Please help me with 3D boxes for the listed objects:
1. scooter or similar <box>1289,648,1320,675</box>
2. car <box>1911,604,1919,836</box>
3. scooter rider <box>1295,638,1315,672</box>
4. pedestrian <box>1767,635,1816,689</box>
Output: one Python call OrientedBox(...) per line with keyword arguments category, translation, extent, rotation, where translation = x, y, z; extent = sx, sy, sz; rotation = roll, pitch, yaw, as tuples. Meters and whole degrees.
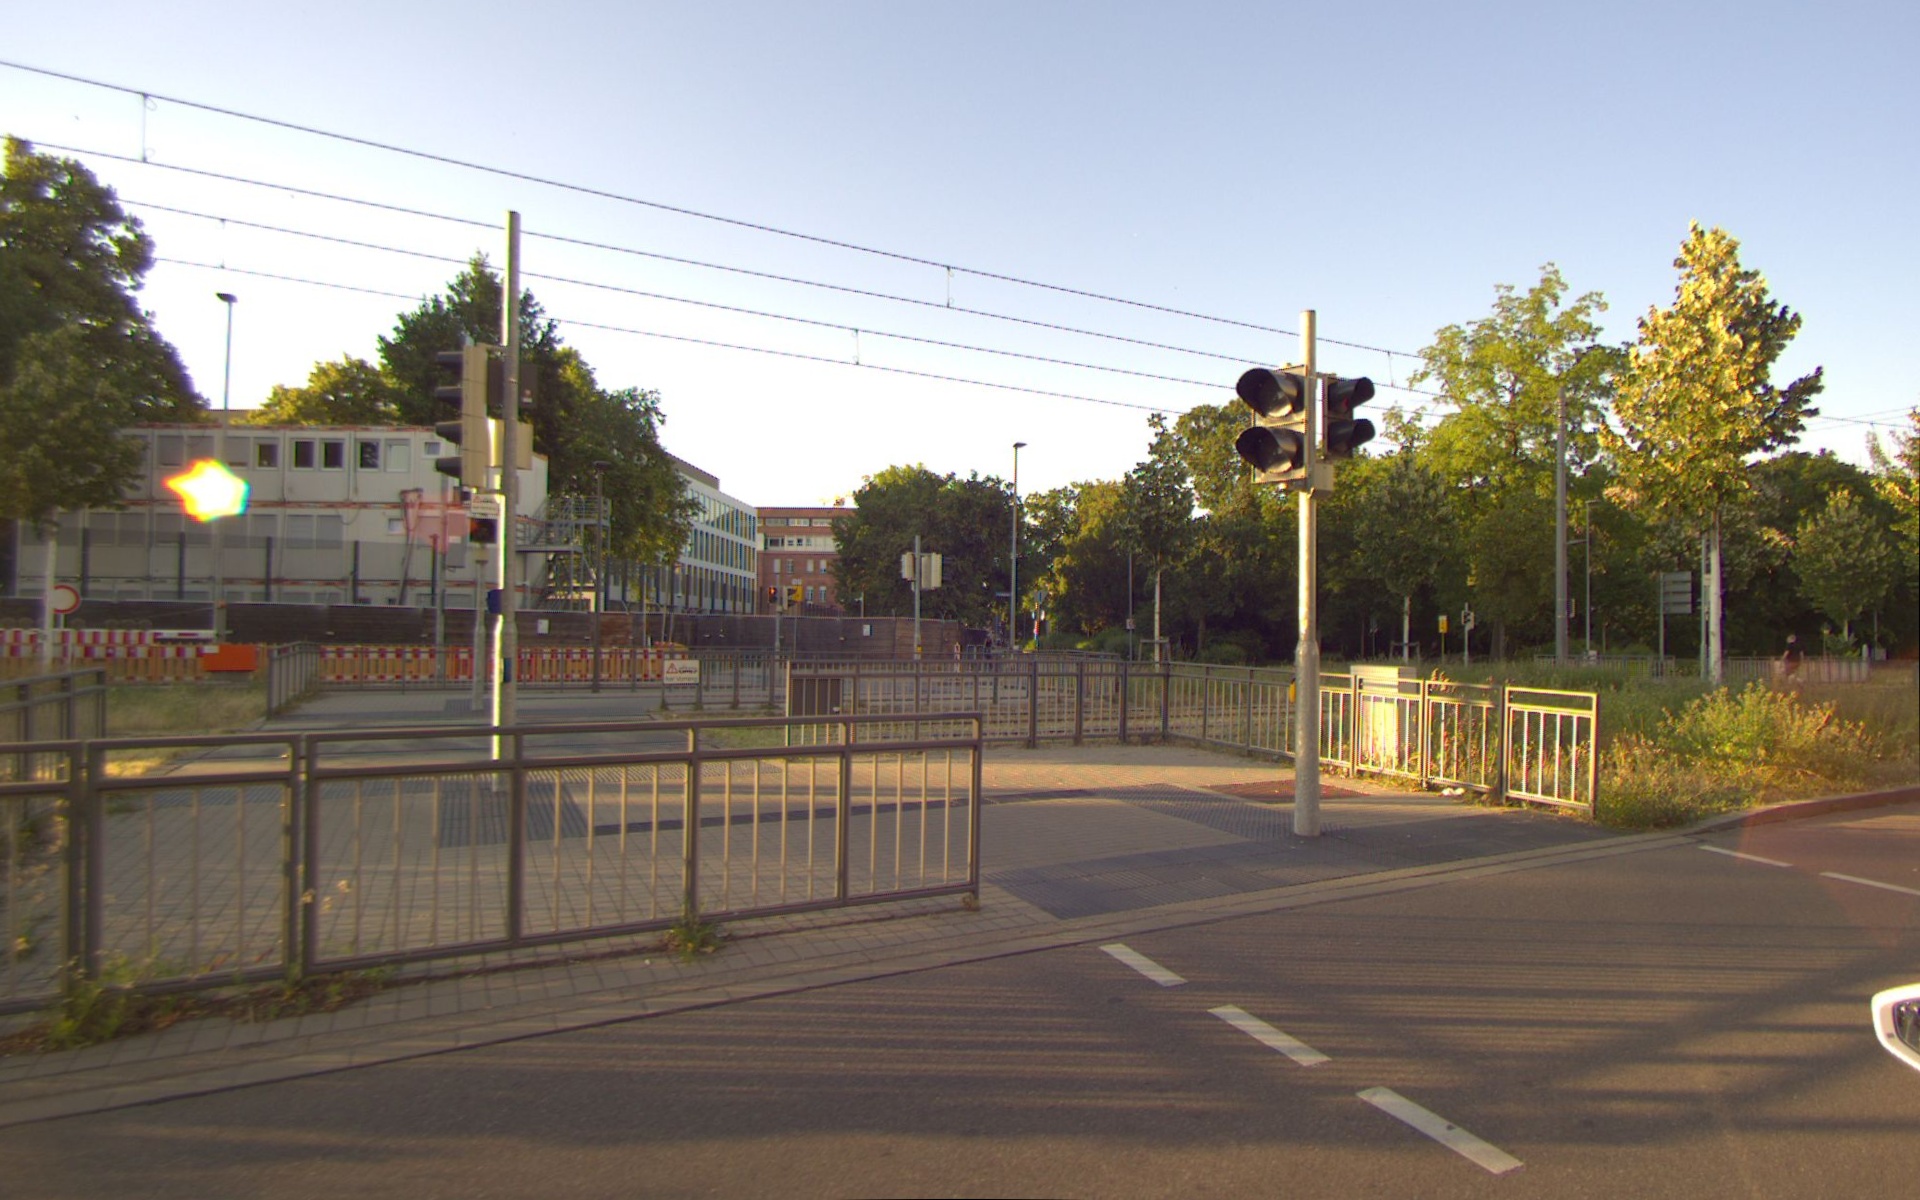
OrientedBox(category="scooter or similar", translation=(15.817, 2.817, 46.105), extent=(1.306, 1.168, 0.514), rotation=(0, -2, 13))
OrientedBox(category="car", translation=(9.220, 0.883, 7.527), extent=(4.215, 1.681, 1.847), rotation=(0, 0, -29))
OrientedBox(category="scooter rider", translation=(15.845, 2.500, 46.133), extent=(0.806, 1.534, 0.653), rotation=(0, -2, 13))
OrientedBox(category="pedestrian", translation=(25.356, 1.873, 30.654), extent=(0.798, 1.607, 0.836), rotation=(1, -2, -12))
